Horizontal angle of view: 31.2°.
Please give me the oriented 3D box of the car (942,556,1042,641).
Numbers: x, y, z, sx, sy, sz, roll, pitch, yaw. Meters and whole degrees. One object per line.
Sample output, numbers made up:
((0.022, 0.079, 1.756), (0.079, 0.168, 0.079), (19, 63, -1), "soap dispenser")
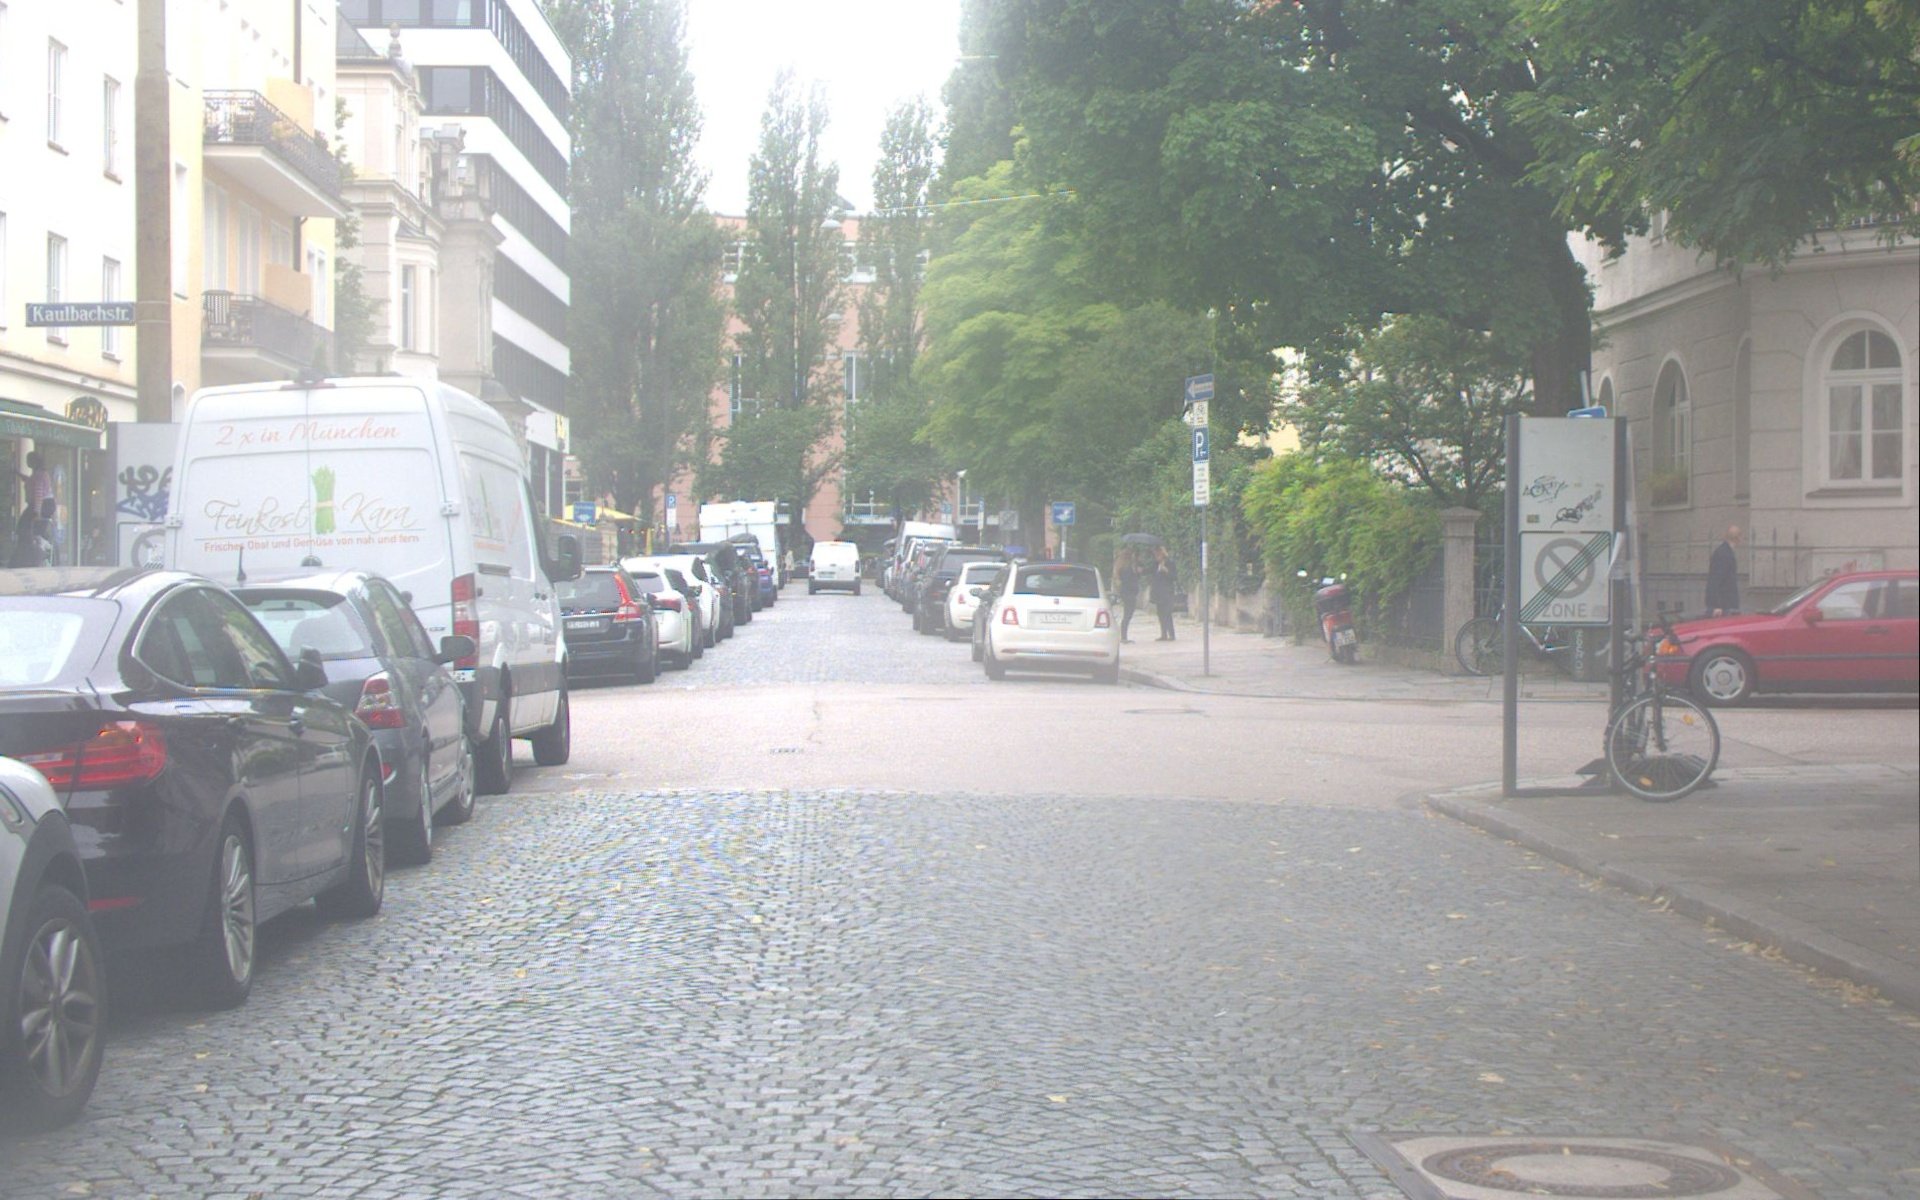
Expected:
((0.569, -0.044, 64.271), (1.630, 1.464, 3.659), (3, 0, -2), "car")

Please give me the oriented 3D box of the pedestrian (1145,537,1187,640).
((3.671, -0.207, 61.289), (0.628, 1.802, 0.660), (1, 0, -5), "pedestrian")

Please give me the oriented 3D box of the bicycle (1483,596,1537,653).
((8.056, 0.349, 50.401), (0.491, 0.809, 2.273), (1, 0, 2), "bicycle")

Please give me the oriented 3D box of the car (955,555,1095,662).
((0.918, 0.101, 51.149), (1.648, 1.417, 4.633), (4, 0, -3), "car")

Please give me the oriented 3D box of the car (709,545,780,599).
((-5.997, -0.788, 95.950), (1.939, 1.454, 4.058), (1, 0, -3), "car")

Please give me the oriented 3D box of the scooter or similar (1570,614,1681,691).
((7.604, 0.596, 39.331), (1.183, 0.845, 0.924), (1, 0, 8), "scooter or similar")

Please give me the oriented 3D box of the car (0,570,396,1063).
((-3.288, 0.657, 12.674), (1.725, 1.459, 4.473), (-2, 1, -1), "car")

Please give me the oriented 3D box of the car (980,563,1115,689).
((1.077, 0.306, 43.865), (1.502, 1.466, 3.795), (3, 0, -1), "car")

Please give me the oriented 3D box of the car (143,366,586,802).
((-3.886, -0.116, 23.503), (1.977, 2.565, 5.794), (-1, 0, 0), "car")

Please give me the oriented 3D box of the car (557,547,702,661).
((-4.626, 0.020, 48.578), (1.773, 1.531, 4.541), (0, 1, -2), "car")

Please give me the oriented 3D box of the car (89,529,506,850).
((-3.344, 0.403, 17.995), (1.661, 1.477, 3.983), (1, 0, -4), "car")

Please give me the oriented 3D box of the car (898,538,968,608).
((-0.845, -0.807, 103.187), (1.800, 1.943, 4.861), (3, 0, -3), "car")

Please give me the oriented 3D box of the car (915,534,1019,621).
((0.108, -0.453, 69.478), (1.875, 1.667, 5.491), (1, 0, -2), "car")

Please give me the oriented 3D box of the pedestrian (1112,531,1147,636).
((3.002, -0.303, 60.871), (0.575, 1.844, 0.682), (0, 1, 1), "pedestrian")

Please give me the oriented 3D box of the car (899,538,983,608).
((-0.525, -0.709, 90.302), (1.963, 1.753, 4.955), (1, 0, -3), "car")

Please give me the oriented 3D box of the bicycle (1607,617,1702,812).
((4.286, 0.684, 21.273), (0.388, 1.143, 1.589), (0, 0, 5), "bicycle")

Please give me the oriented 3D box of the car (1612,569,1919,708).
((8.934, 0.372, 34.718), (4.468, 1.353, 1.760), (0, 1, 6), "car")

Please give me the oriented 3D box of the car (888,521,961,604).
((-1.150, -1.226, 108.577), (1.895, 2.418, 5.612), (4, 1, -3), "car")

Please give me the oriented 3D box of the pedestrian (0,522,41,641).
((-13.098, -0.257, 47.731), (0.522, 1.637, 0.630), (1, 0, -2), "pedestrian")

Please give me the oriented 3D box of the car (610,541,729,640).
((-5.043, -0.172, 60.054), (1.773, 1.642, 4.391), (1, 0, -1), "car")

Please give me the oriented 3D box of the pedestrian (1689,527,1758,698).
((8.439, 0.138, 38.008), (0.493, 1.869, 0.743), (1, 0, -7), "pedestrian")

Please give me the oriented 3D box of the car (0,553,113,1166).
((-3.197, 0.629, 7.519), (1.693, 1.498, 3.777), (1, 0, 1), "car")

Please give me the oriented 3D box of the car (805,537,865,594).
((-4.326, -1.182, 119.549), (1.996, 1.929, 4.000), (1, 0, -1), "car")

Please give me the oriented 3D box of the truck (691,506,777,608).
((-7.017, -1.367, 107.243), (2.508, 3.021, 6.386), (-1, 1, -3), "truck")

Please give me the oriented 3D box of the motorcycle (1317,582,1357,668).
((4.889, 0.317, 44.596), (0.362, 1.086, 1.403), (1, 0, 0), "motorcycle")

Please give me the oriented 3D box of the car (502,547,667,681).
((-4.711, 0.152, 43.689), (1.852, 1.581, 4.749), (1, 0, -4), "car")

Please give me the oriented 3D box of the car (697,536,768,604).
((-5.955, -0.779, 90.388), (1.773, 1.712, 4.391), (1, 0, -3), "car")

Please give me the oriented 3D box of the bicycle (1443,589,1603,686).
((6.614, 0.431, 40.351), (1.838, 1.120, 0.562), (0, 1, 11), "bicycle")
